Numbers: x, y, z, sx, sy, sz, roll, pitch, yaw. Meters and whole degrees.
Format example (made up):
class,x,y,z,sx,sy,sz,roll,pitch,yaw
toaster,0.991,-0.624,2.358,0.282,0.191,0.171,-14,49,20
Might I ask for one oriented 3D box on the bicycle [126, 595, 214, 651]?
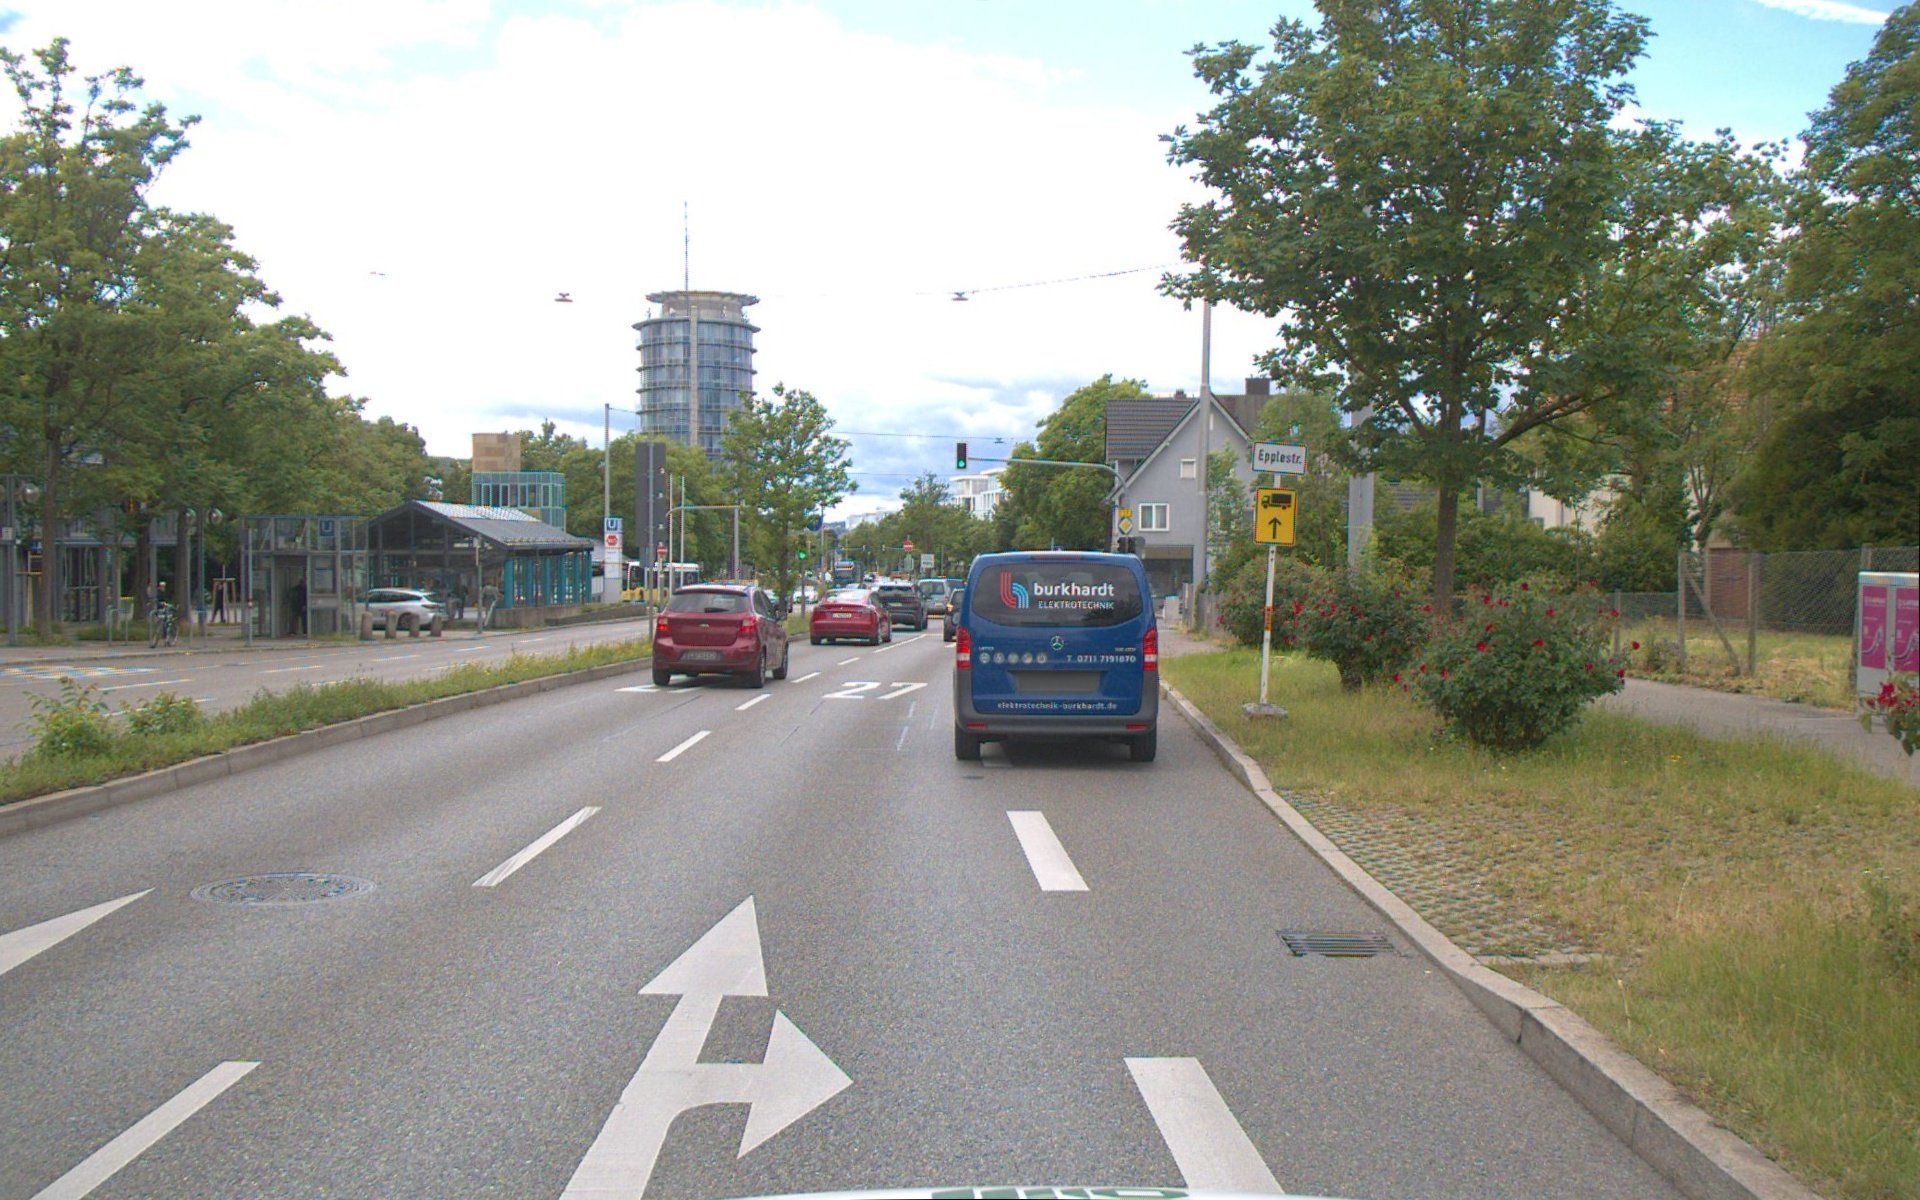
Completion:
class,x,y,z,sx,sy,sz,roll,pitch,yaw
bicycle,-19.761,0.552,41.426,1.030,1.293,2.424,2,0,-1

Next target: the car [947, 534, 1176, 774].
class,x,y,z,sx,sy,sz,roll,pitch,yaw
car,0.902,0.446,16.285,1.907,2.000,4.542,1,0,1

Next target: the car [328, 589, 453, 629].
class,x,y,z,sx,sy,sz,roll,pitch,yaw
car,-20.317,0.303,59.163,3.913,1.378,1.996,0,0,-9

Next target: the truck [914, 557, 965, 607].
class,x,y,z,sx,sy,sz,roll,pitch,yaw
truck,-0.938,-0.843,78.345,1.952,2.203,5.562,2,0,3

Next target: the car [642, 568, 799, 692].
class,x,y,z,sx,sy,sz,roll,pitch,yaw
car,-3.675,0.415,26.006,1.710,1.753,4.001,1,1,2

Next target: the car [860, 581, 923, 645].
class,x,y,z,sx,sy,sz,roll,pitch,yaw
car,-2.420,0.433,57.674,1.955,2.048,3.996,1,1,-5

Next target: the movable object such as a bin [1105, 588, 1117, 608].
class,x,y,z,sx,sy,sz,roll,pitch,yaw
movable object such as a bin,8.470,-0.122,92.652,0.585,1.120,0.573,0,0,-5

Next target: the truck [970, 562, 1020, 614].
class,x,y,z,sx,sy,sz,roll,pitch,yaw
truck,1.637,-0.527,75.339,1.952,2.203,5.562,2,0,3

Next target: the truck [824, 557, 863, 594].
class,x,y,z,sx,sy,sz,roll,pitch,yaw
truck,-12.734,-2.613,181.619,3.299,3.792,11.281,1,0,1

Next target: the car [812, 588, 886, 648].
class,x,y,z,sx,sy,sz,roll,pitch,yaw
car,-3.009,0.456,44.176,1.832,1.512,3.995,0,0,-6

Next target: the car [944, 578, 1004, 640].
class,x,y,z,sx,sy,sz,roll,pitch,yaw
car,0.410,0.244,49.058,1.710,1.753,4.000,0,1,0
